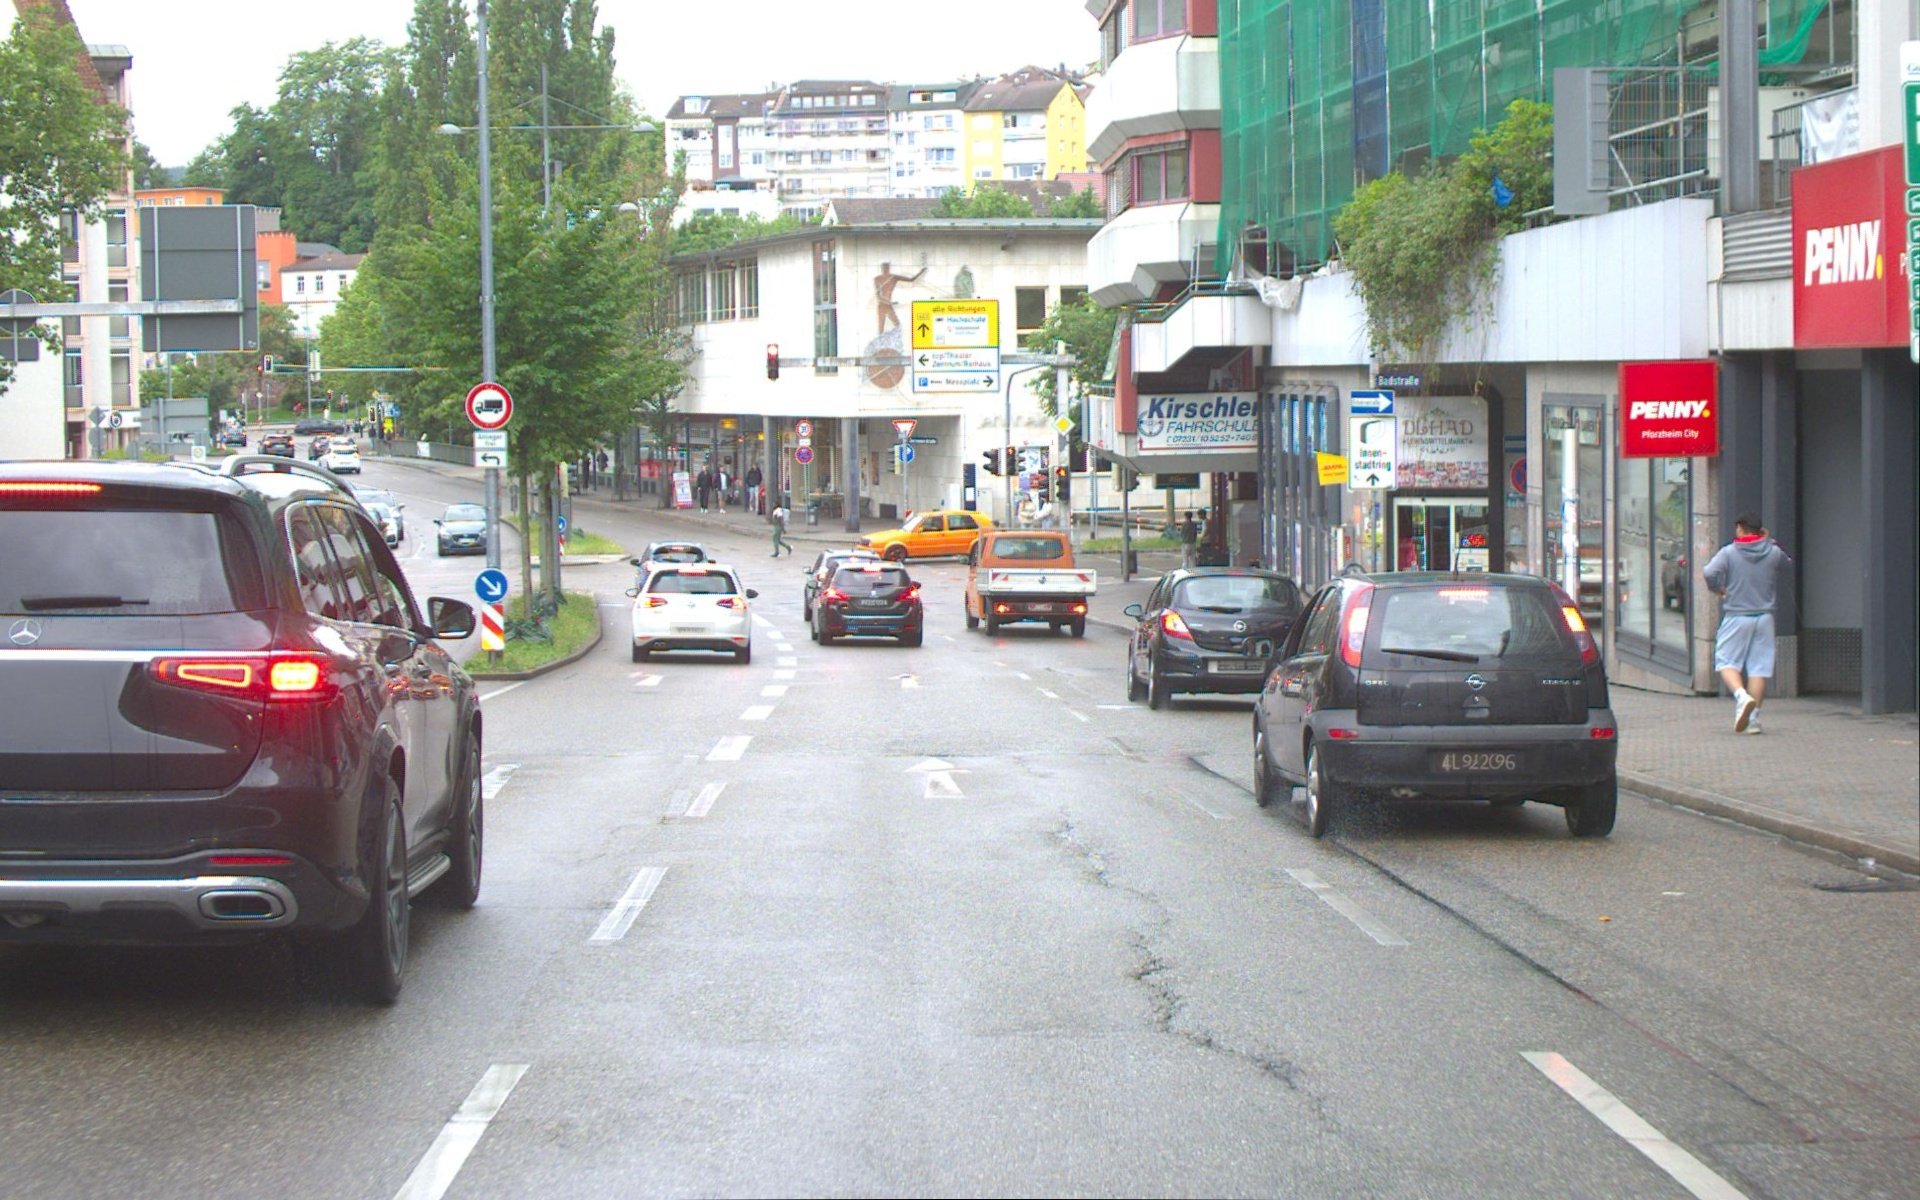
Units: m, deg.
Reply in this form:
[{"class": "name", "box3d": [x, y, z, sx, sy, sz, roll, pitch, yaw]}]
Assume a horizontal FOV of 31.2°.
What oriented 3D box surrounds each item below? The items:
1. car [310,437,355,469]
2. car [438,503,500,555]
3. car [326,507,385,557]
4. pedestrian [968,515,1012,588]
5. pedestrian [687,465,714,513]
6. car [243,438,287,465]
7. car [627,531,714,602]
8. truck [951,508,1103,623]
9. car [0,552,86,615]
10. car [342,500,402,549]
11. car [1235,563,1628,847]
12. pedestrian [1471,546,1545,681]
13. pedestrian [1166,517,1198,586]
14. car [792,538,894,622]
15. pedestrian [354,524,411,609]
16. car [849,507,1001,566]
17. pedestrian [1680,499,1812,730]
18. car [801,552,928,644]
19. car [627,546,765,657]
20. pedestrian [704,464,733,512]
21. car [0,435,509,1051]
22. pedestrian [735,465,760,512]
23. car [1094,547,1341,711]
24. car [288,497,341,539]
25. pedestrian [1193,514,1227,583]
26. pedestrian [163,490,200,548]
[{"class": "car", "box3d": [-33.363, -7.815, 182.725, 1.993, 1.590, 4.001, -1, 1, -16]}, {"class": "car", "box3d": [-14.994, -2.163, 105.153, 1.819, 1.544, 4.001, -1, 1, -8]}, {"class": "car", "box3d": [-18.316, -2.057, 104.015, 1.706, 1.446, 3.862, -1, 1, -10]}, {"class": "pedestrian", "box3d": [0.729, -1.183, 83.001, 1.010, 1.716, 0.838, -2, 1, 2]}, {"class": "pedestrian", "box3d": [-10.049, -4.292, 133.004, 0.798, 1.796, 0.918, -2, 1, -17]}, {"class": "car", "box3d": [-41.754, -8.909, 206.476, 1.748, 1.549, 3.570, -1, 1, -26]}, {"class": "car", "box3d": [-6.344, -0.756, 75.145, 1.794, 1.463, 4.001, -1, 2, -6]}, {"class": "truck", "box3d": [1.218, -0.691, 65.401, 2.183, 2.075, 5.604, -1, 1, -6]}, {"class": "car", "box3d": [-23.364, -0.416, 82.493, 4.589, 1.477, 1.943, 0, 1, -15]}, {"class": "car", "box3d": [-19.110, -2.453, 111.630, 1.777, 1.544, 4.001, -1, 1, -12]}, {"class": "car", "box3d": [2.575, 0.520, 19.564, 1.717, 1.415, 3.770, -1, 1, 0]}, {"class": "pedestrian", "box3d": [6.803, 0.163, 42.683, 0.642, 1.644, 0.561, -2, 0, 39]}, {"class": "pedestrian", "box3d": [5.470, -1.201, 84.865, 0.575, 1.694, 0.651, -2, 1, -13]}, {"class": "car", "box3d": [-2.370, -0.425, 68.921, 1.760, 1.537, 4.001, -1, 2, -6]}, {"class": "pedestrian", "box3d": [-13.140, -0.771, 78.206, 1.063, 1.875, 0.838, -2, 1, 3]}, {"class": "car", "box3d": [-0.993, -1.770, 96.215, 3.995, 1.611, 1.775, -1, 1, -10]}, {"class": "pedestrian", "box3d": [5.999, 0.100, 26.272, 0.836, 1.716, 0.829, -2, 1, 6]}, {"class": "car", "box3d": [-1.704, -0.056, 59.841, 1.811, 1.436, 4.001, 1, 2, -7]}, {"class": "car", "box3d": [-3.920, -0.008, 51.590, 1.949, 1.568, 4.001, 0, 1, -3]}, {"class": "pedestrian", "box3d": [-9.263, -4.279, 131.885, 0.846, 1.796, 1.056, -2, 1, -17]}, {"class": "car", "box3d": [-2.930, 0.367, 12.599, 2.087, 1.811, 4.793, 1, 1, -2]}, {"class": "pedestrian", "box3d": [-8.186, -4.296, 132.410, 0.702, 1.796, 0.939, -2, 1, -17]}, {"class": "car", "box3d": [2.616, 0.251, 35.832, 1.949, 1.568, 4.001, 0, 1, -5]}, {"class": "car", "box3d": [-24.785, -3.142, 131.896, 1.777, 1.544, 4.001, -1, 1, -13]}, {"class": "pedestrian", "box3d": [6.169, -1.268, 84.873, 0.575, 1.694, 0.651, -2, 1, -17]}, {"class": "pedestrian", "box3d": [-24.529, -2.563, 108.328, 0.903, 1.796, 0.627, -3, 1, -44]}]
